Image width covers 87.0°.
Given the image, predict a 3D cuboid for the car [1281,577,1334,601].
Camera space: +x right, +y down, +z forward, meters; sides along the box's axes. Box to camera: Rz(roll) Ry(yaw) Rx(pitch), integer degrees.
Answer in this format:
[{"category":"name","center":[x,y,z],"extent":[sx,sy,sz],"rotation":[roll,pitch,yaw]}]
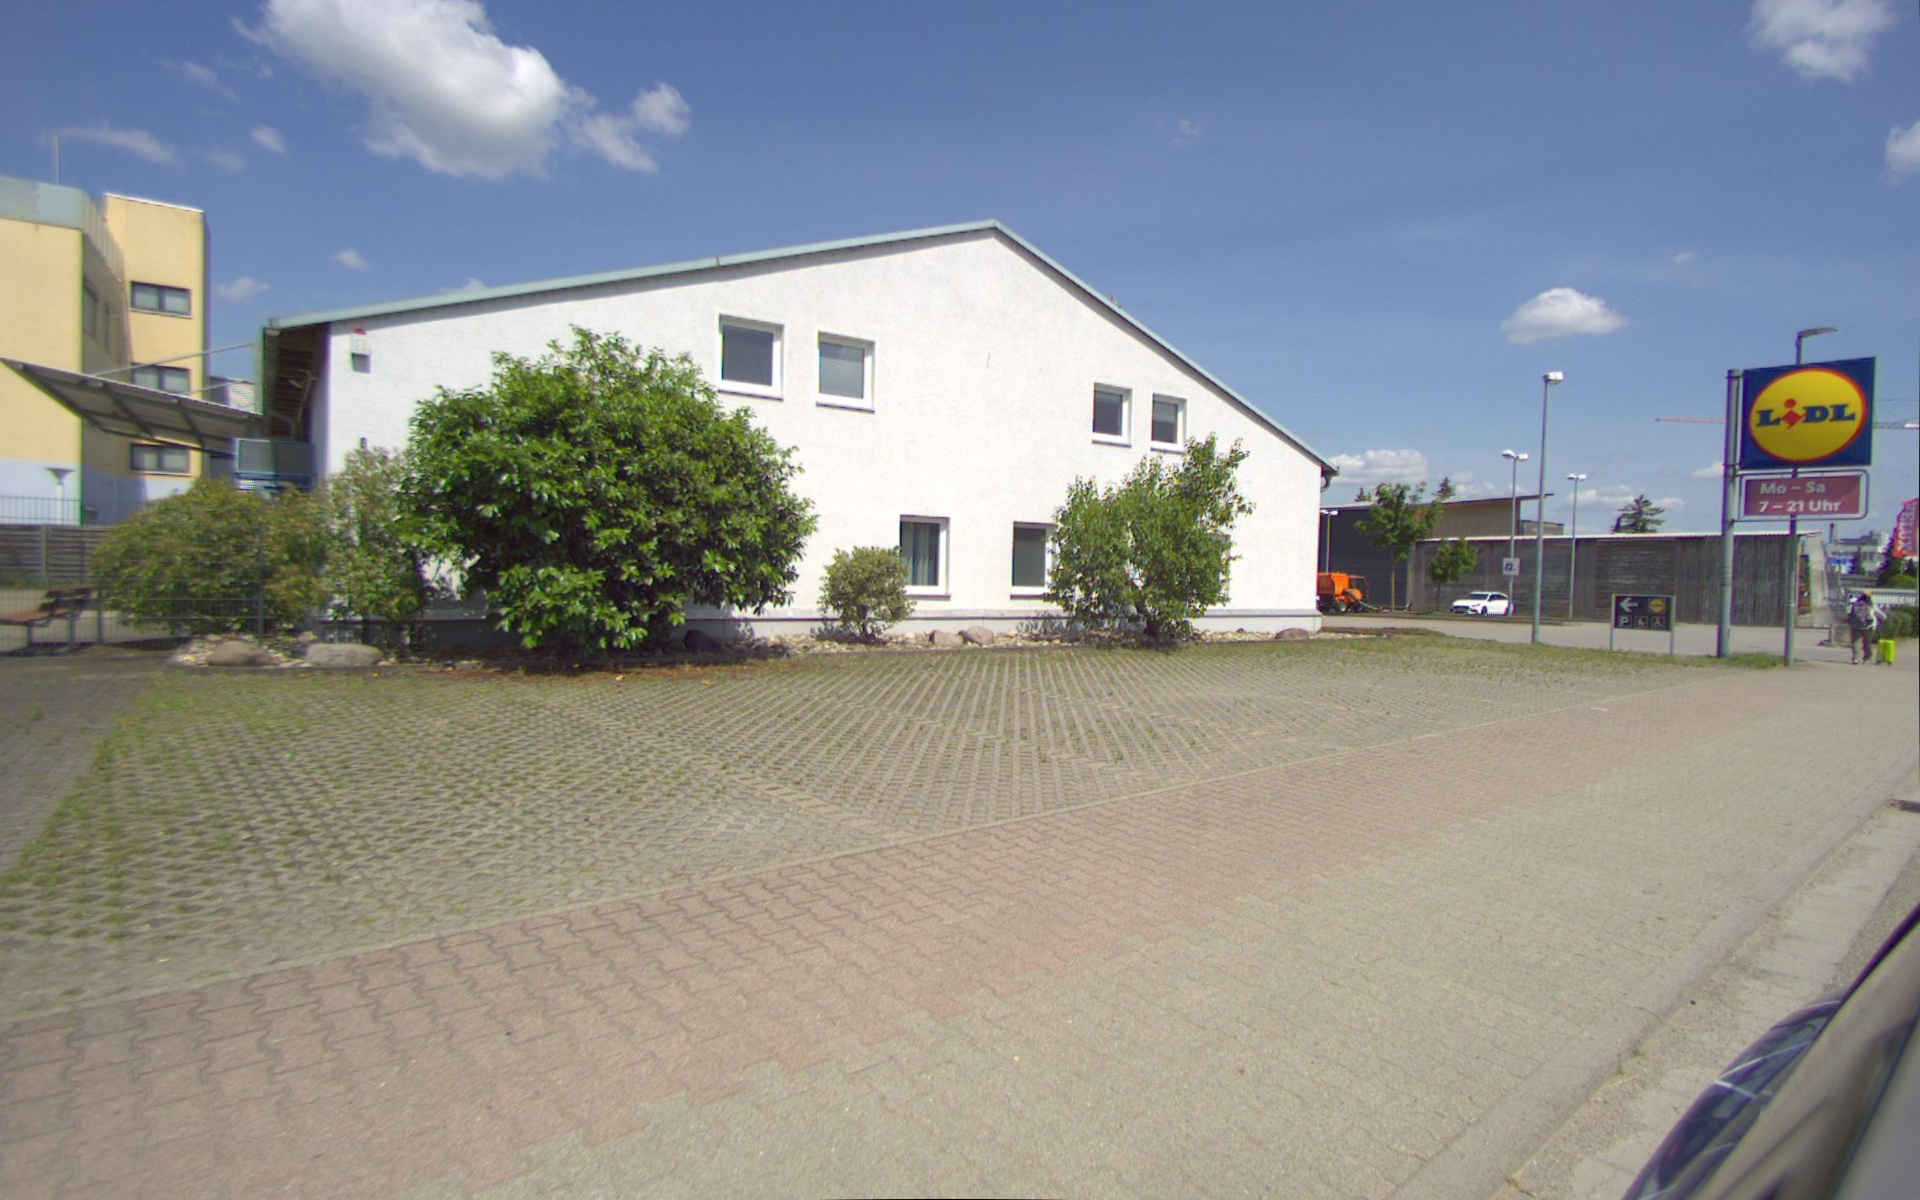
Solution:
[{"category":"car","center":[23.840,-0.736,69.352],"extent":[3.927,1.593,1.584],"rotation":[0,1,-39]}]

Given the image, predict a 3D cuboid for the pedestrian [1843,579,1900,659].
[{"category":"pedestrian","center":[19.609,0.388,21.760],"extent":[1.190,1.621,0.762],"rotation":[0,3,-44]}]

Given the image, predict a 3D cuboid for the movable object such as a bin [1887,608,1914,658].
[{"category":"movable object such as a bin","center":[20.225,0.700,21.771],"extent":[0.374,1.042,0.491],"rotation":[3,2,45]}]

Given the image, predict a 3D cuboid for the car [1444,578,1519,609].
[{"category":"car","center":[30.007,-0.359,58.187],"extent":[4.353,1.683,2.000],"rotation":[1,1,-35]}]

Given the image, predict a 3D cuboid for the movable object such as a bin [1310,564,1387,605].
[{"category":"movable object such as a bin","center":[22.714,-0.877,59.094],"extent":[4.430,2.231,1.688],"rotation":[1,2,-29]}]
